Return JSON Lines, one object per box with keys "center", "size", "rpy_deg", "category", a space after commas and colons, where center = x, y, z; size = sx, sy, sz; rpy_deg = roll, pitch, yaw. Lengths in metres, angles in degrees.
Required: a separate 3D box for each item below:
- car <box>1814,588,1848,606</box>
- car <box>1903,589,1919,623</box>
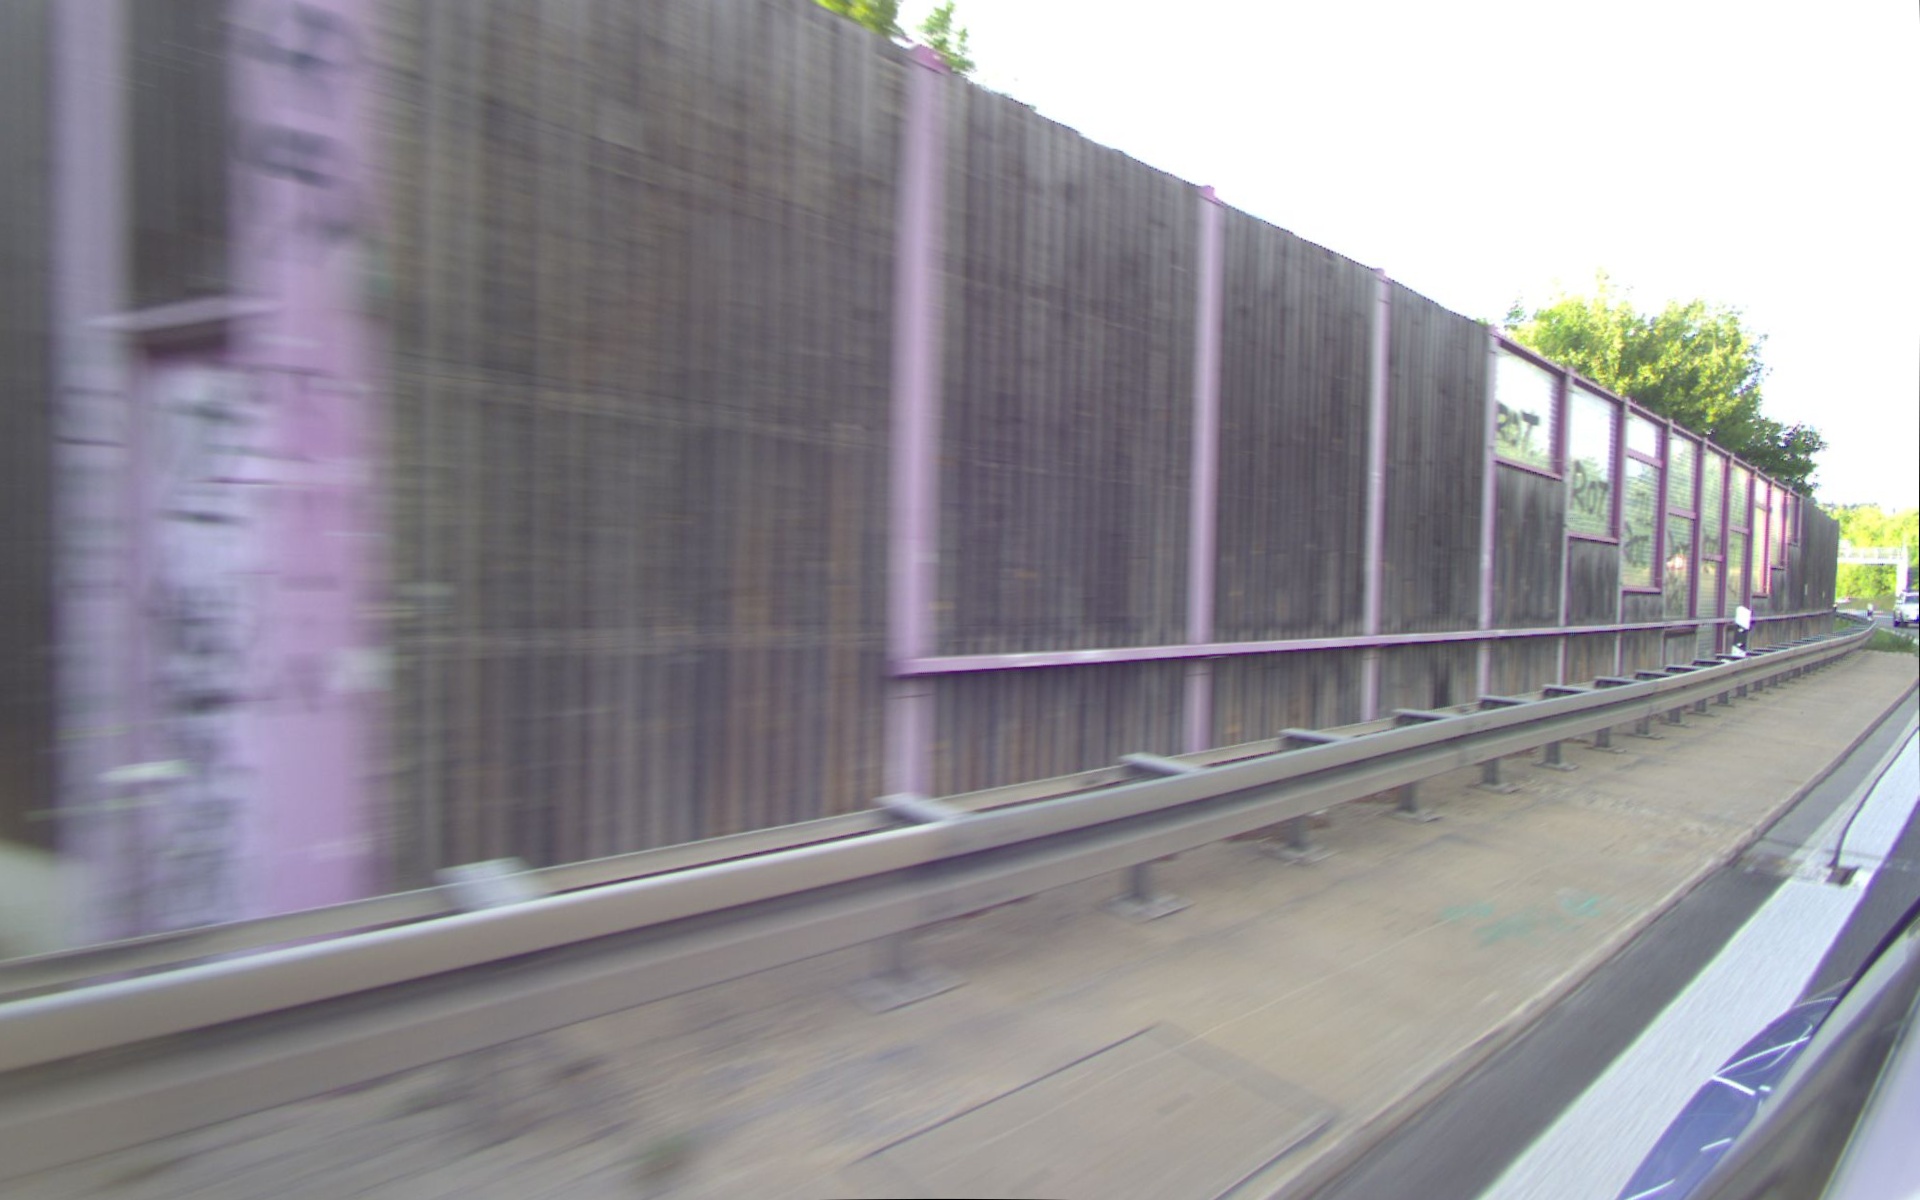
{"center": [71.175, -0.253, 82.735], "size": [1.610, 1.478, 3.618], "rpy_deg": [-1, 0, 34], "category": "car"}
{"center": [48.612, 0.284, 50.551], "size": [1.896, 1.686, 3.944], "rpy_deg": [1, 1, 38], "category": "car"}
